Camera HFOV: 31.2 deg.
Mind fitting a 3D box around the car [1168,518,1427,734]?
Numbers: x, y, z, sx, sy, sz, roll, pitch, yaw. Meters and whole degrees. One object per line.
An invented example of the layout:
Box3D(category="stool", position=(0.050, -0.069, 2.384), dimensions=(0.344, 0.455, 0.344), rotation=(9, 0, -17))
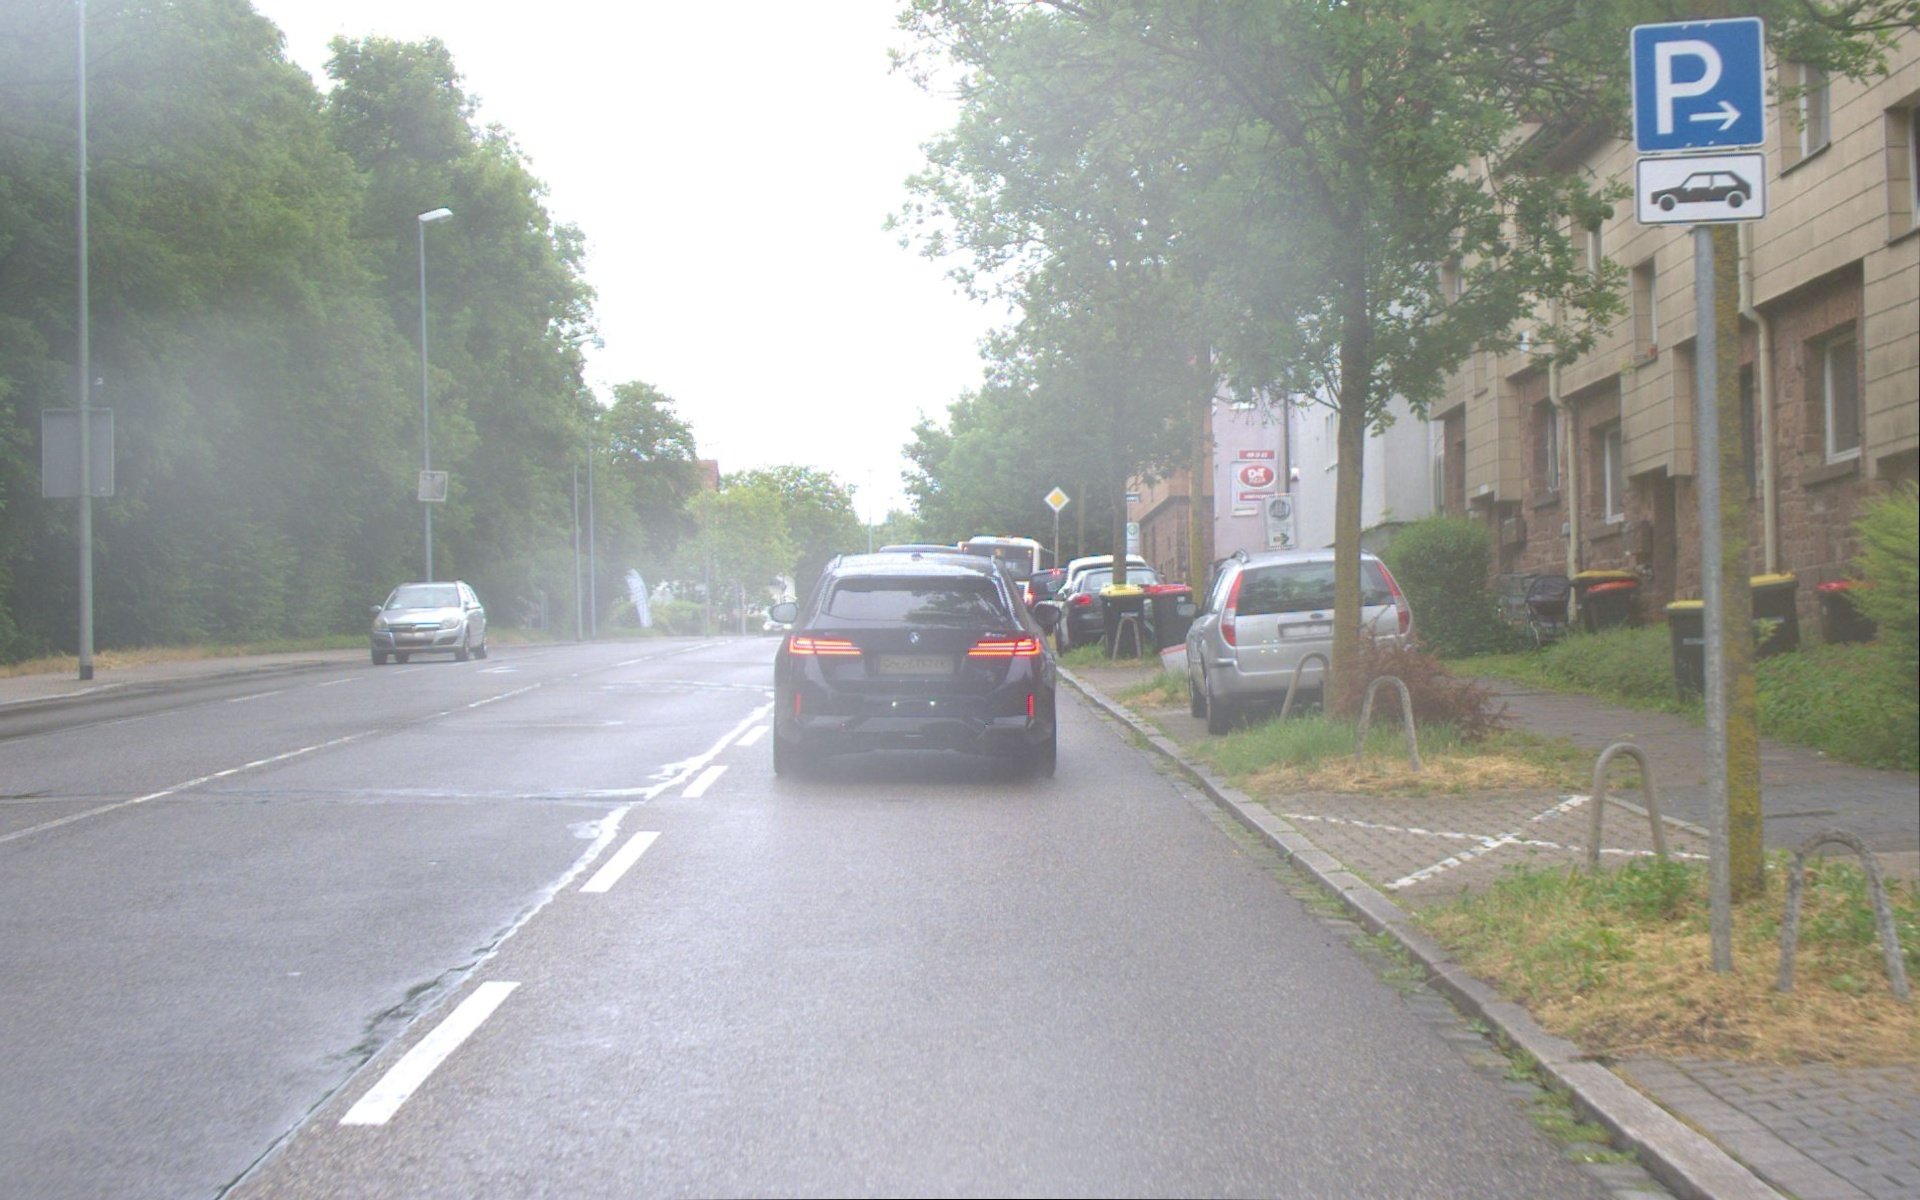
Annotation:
Box3D(category="car", position=(2.822, 0.150, 29.659), dimensions=(1.702, 1.579, 4.643), rotation=(-4, 1, 1))

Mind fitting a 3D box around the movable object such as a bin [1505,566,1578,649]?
Box3D(category="movable object such as a bin", position=(6.908, 0.082, 40.860), dimensions=(0.700, 0.962, 0.941), rotation=(0, 1, 0))

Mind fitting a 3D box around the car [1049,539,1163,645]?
Box3D(category="car", position=(2.555, -0.169, 61.036), dimensions=(1.824, 1.766, 4.541), rotation=(-2, 1, 1))

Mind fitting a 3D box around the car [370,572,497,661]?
Box3D(category="car", position=(-9.618, 0.272, 63.063), dimensions=(1.689, 1.478, 4.452), rotation=(-3, 1, -2))

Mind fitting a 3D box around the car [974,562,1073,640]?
Box3D(category="car", position=(1.724, 0.042, 91.932), dimensions=(1.927, 1.886, 4.759), rotation=(-4, -1, 8))

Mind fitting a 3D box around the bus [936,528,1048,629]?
Box3D(category="bus", position=(1.042, -0.674, 103.739), dimensions=(2.623, 2.838, 8.287), rotation=(-2, 1, 5))

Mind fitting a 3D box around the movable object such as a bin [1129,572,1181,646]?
Box3D(category="movable object such as a bin", position=(2.865, 0.130, 50.507), dimensions=(0.619, 1.046, 0.822), rotation=(-3, 1, -3))

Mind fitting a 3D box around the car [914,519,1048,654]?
Box3D(category="car", position=(0.310, -0.219, 53.552), dimensions=(1.993, 2.007, 4.000), rotation=(0, 0, 0))

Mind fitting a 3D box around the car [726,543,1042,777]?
Box3D(category="car", position=(-0.516, 0.368, 24.054), dimensions=(1.993, 1.448, 4.000), rotation=(2, 1, -1))

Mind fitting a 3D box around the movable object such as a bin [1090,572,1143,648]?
Box3D(category="movable object such as a bin", position=(2.259, 0.145, 49.601), dimensions=(0.619, 1.046, 0.822), rotation=(-3, 1, -3))

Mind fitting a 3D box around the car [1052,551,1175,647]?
Box3D(category="car", position=(2.439, -0.022, 55.305), dimensions=(1.641, 1.444, 3.999), rotation=(-1, 0, -2))

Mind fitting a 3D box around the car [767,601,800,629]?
Box3D(category="car", position=(-10.735, 0.910, 209.507), dimensions=(1.770, 1.528, 4.000), rotation=(-2, 1, 0))

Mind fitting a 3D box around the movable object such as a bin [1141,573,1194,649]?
Box3D(category="movable object such as a bin", position=(2.991, 0.152, 49.584), dimensions=(0.619, 1.046, 0.822), rotation=(-3, 1, -3))

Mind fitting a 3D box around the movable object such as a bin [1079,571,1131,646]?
Box3D(category="movable object such as a bin", position=(2.126, 0.124, 50.499), dimensions=(0.619, 1.046, 0.822), rotation=(-3, 1, -3))
